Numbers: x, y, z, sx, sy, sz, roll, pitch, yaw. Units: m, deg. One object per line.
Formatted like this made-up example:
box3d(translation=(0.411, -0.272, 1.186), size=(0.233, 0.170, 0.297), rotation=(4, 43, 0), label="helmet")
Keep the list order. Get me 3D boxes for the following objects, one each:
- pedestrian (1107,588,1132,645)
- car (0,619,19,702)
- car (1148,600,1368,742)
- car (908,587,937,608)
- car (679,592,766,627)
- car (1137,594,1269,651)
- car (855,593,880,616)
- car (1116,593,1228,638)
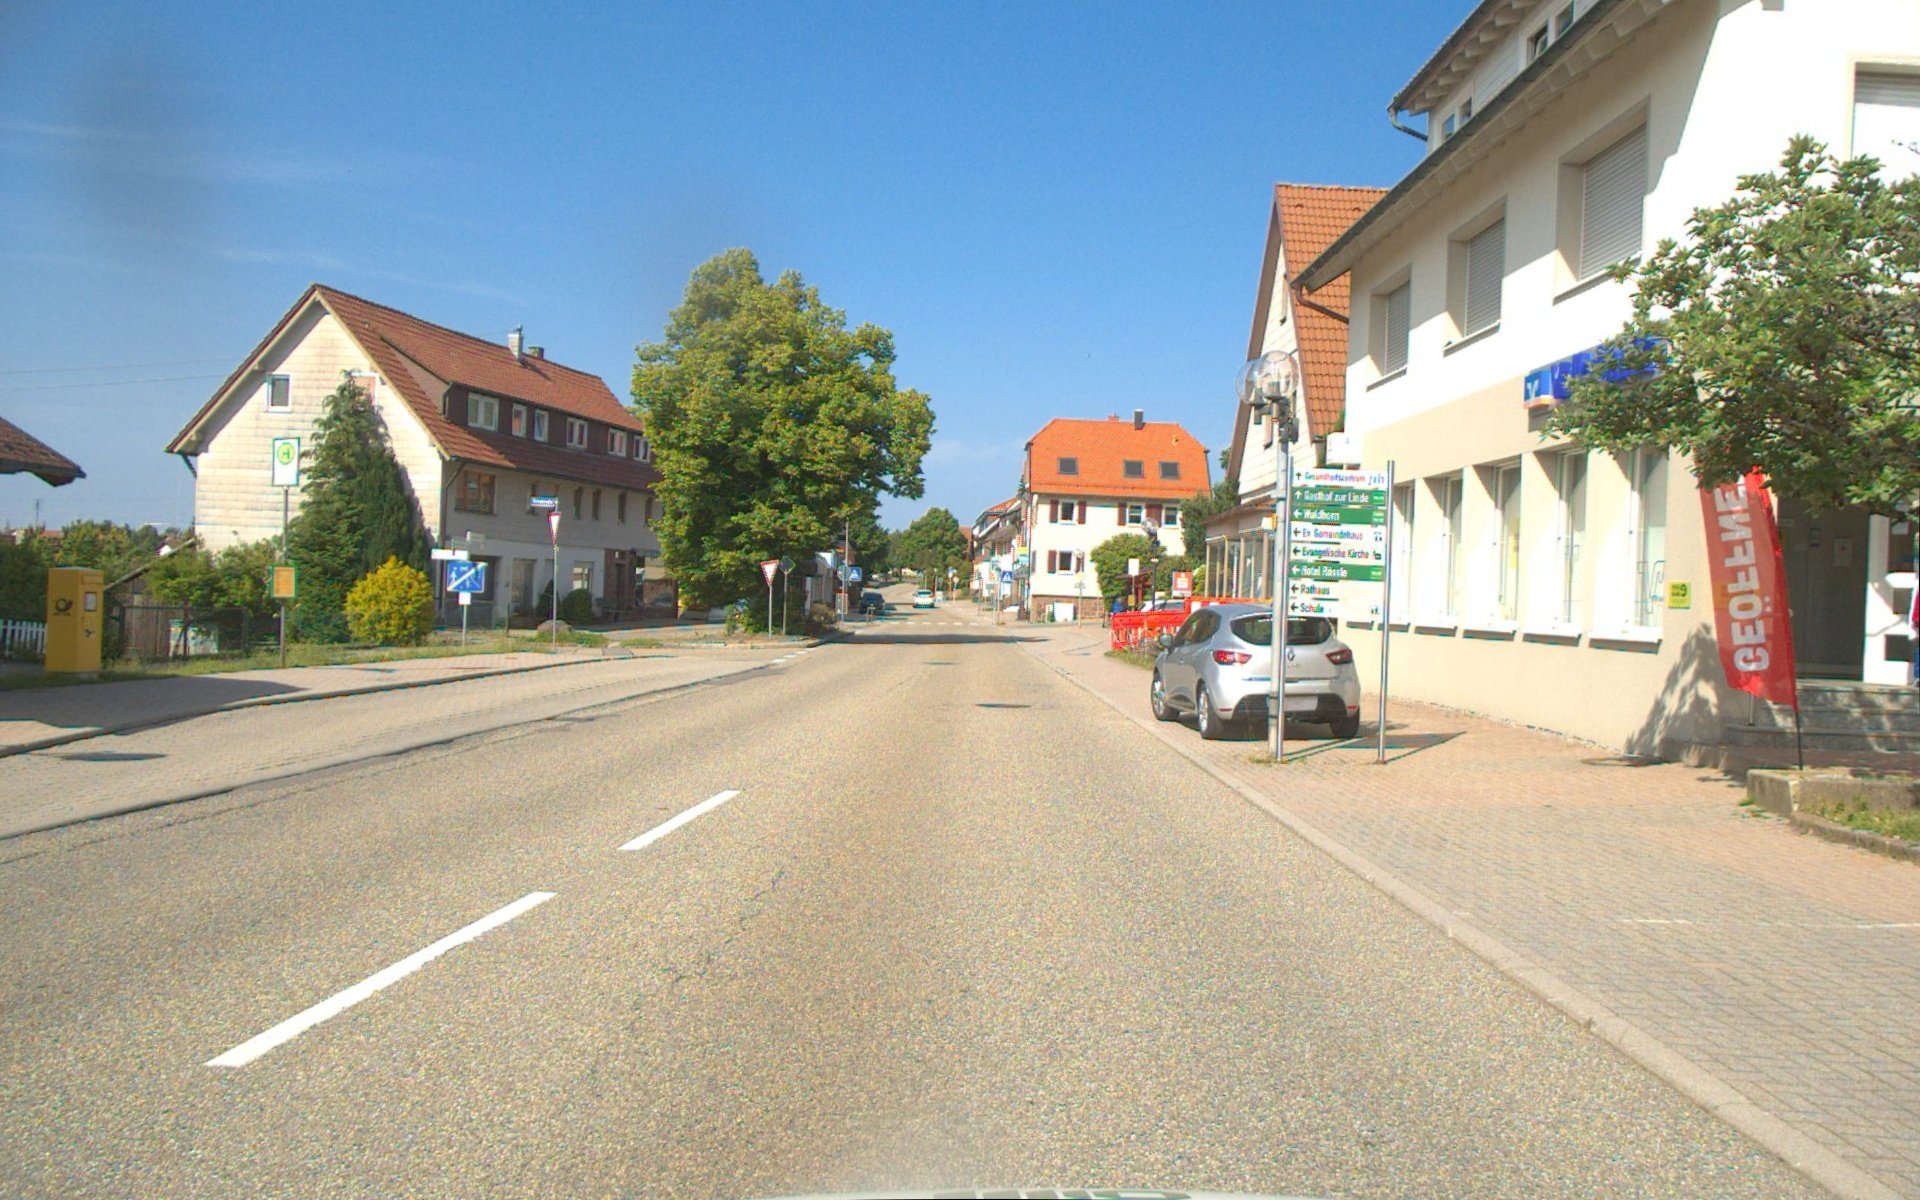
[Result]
box3d(translation=(5.148, 0.529, 53.337), size=(0.782, 1.815, 0.980), rotation=(0, 0, 4), label="pedestrian")
box3d(translation=(-16.433, 0.982, 24.857), size=(1.684, 1.320, 4.003), rotation=(0, 0, 14), label="car")
box3d(translation=(3.346, 0.739, 19.271), size=(1.603, 1.444, 3.932), rotation=(-1, 0, -4), label="car")
box3d(translation=(-3.626, -0.237, 160.129), size=(2.447, 2.049, 4.300), rotation=(-1, 0, -5), label="car")
box3d(translation=(-11.362, 0.486, 79.264), size=(3.679, 1.480, 1.819), rotation=(-1, -5, 11), label="car")
box3d(translation=(7.327, 0.653, 49.811), size=(3.779, 1.585, 1.965), rotation=(1, 0, 12), label="car")
box3d(translation=(-7.005, 0.329, 125.170), size=(1.639, 1.559, 3.535), rotation=(5, 0, -1), label="car")
box3d(translation=(7.680, 0.553, 60.166), size=(3.904, 1.575, 1.881), rotation=(0, 0, 2), label="car")
